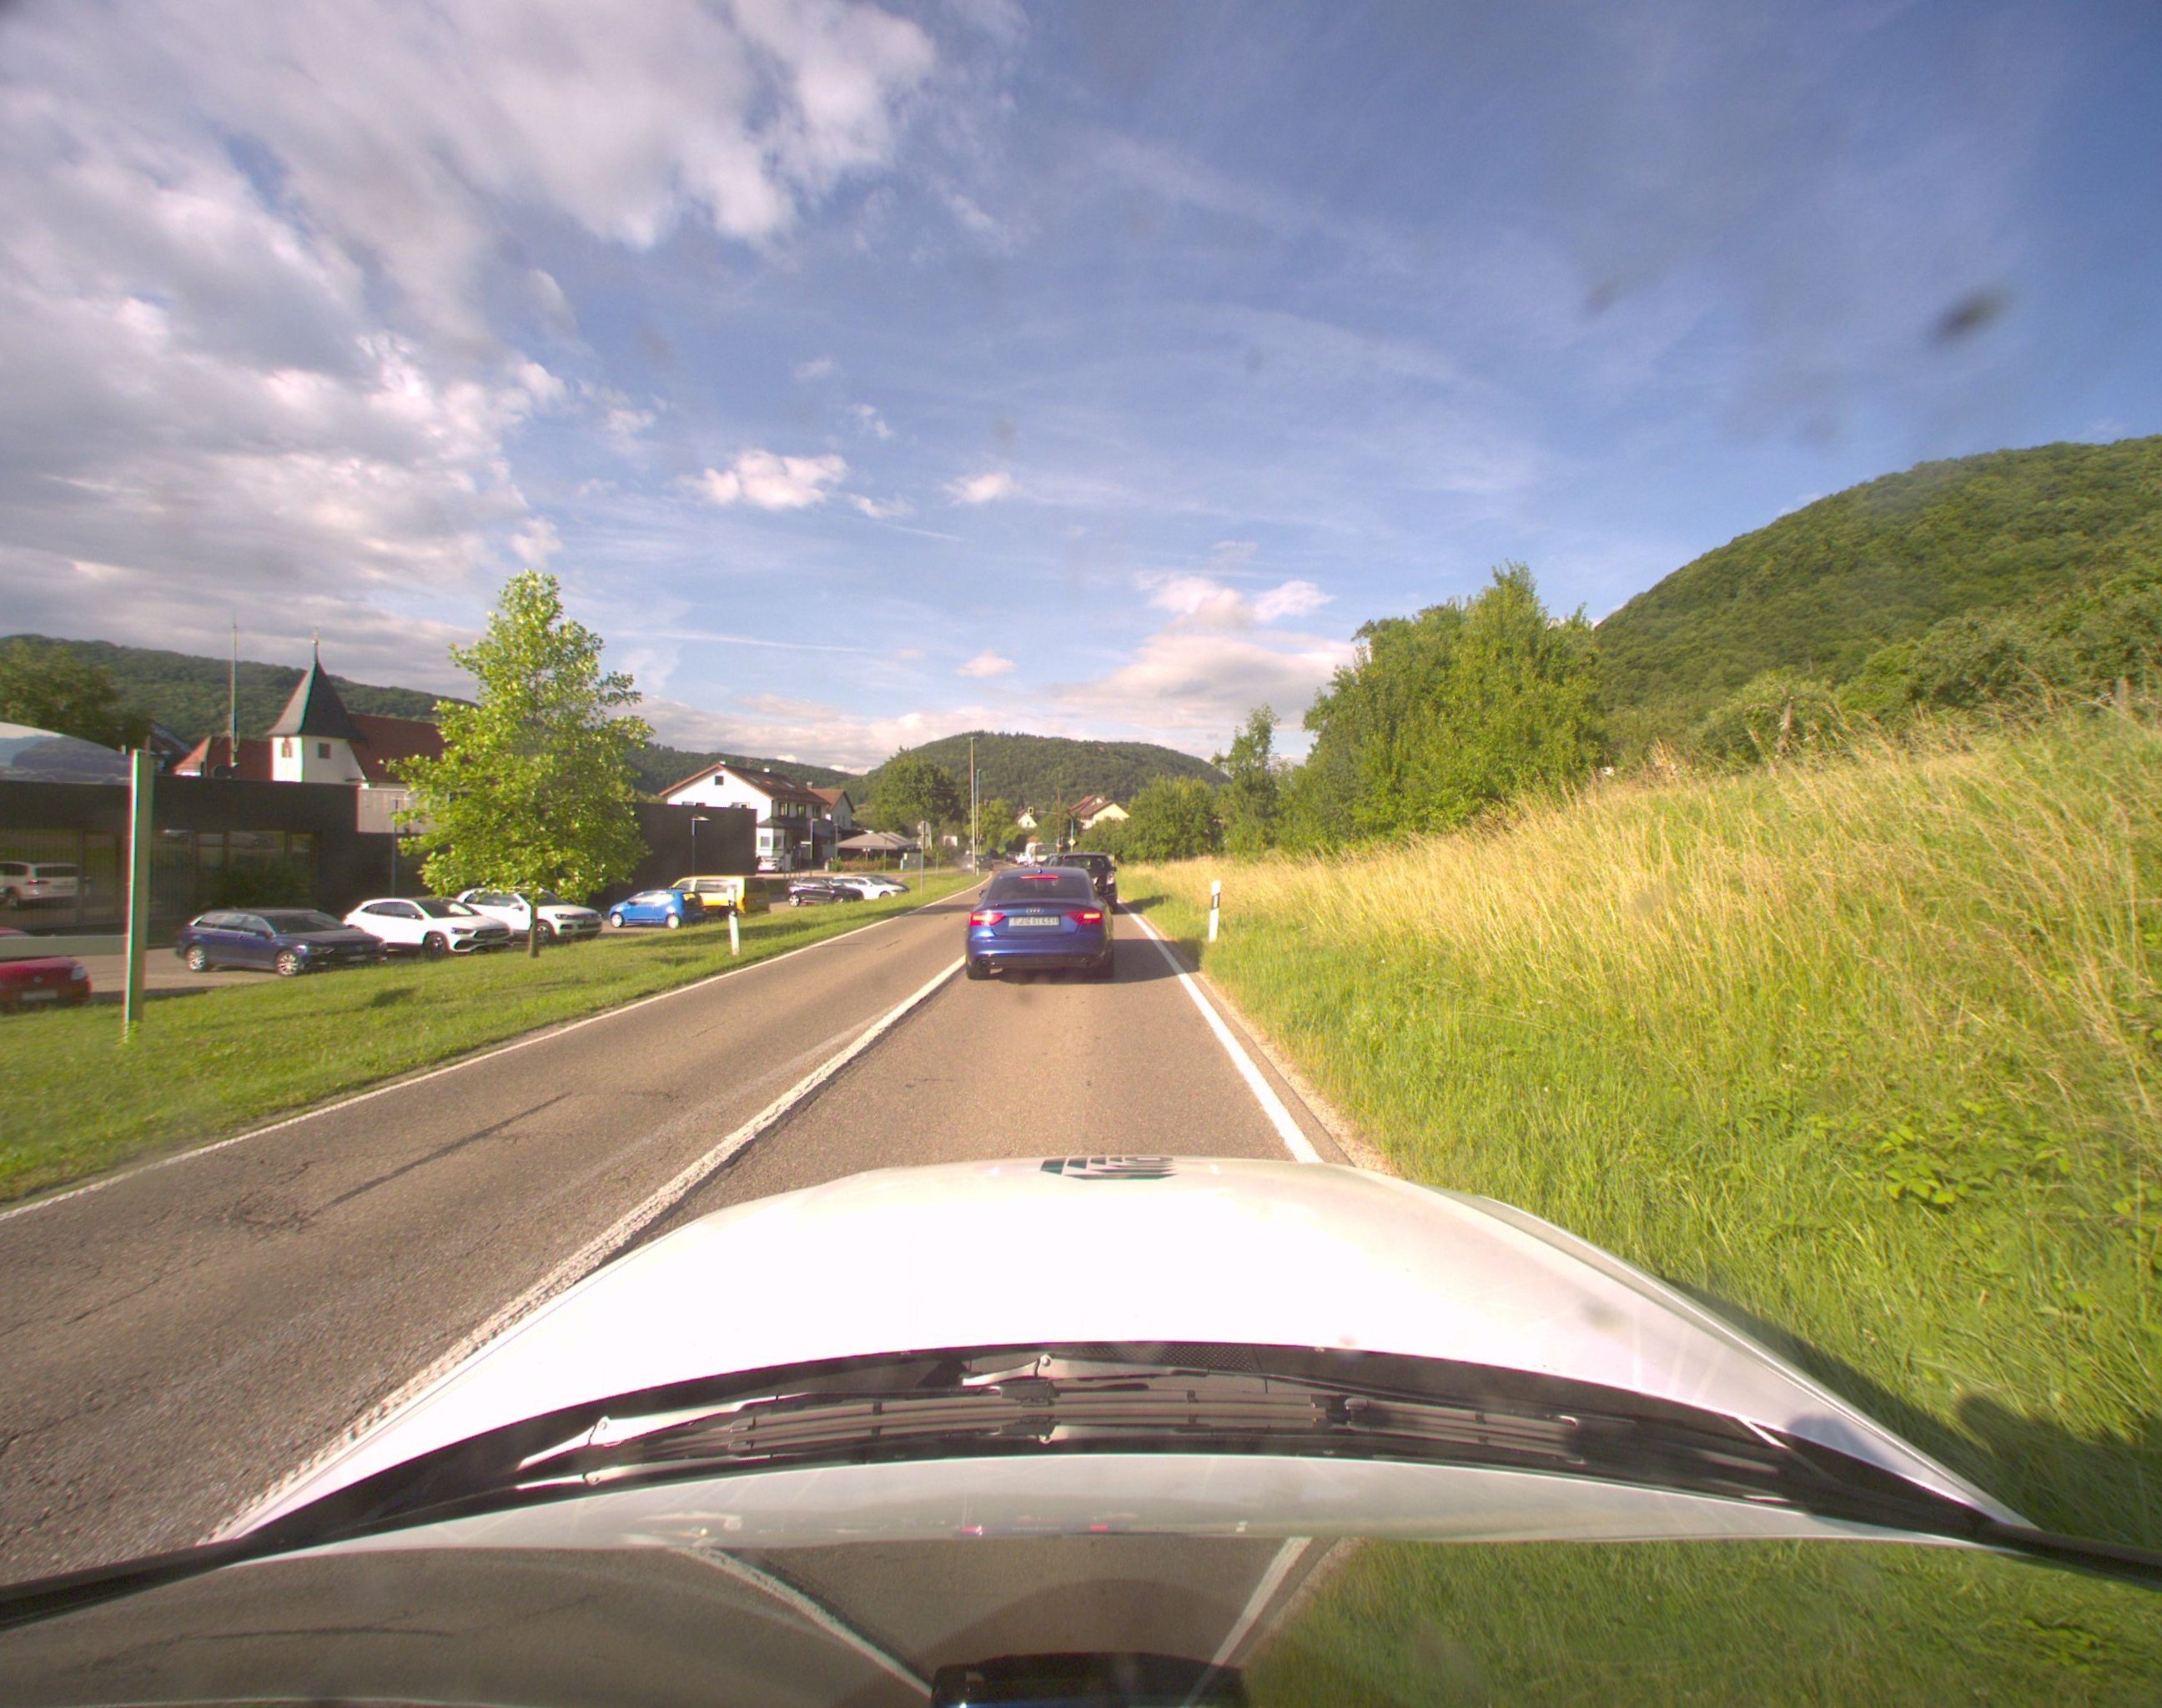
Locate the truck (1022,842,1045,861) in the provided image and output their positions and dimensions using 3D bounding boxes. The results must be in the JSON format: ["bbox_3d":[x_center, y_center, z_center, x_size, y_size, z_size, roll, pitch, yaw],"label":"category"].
[{"bbox_3d":[-5.076,-0.234,85.832,1.698,1.953,5.901,0,-1,-10],"label":"truck"}]

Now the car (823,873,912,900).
[{"bbox_3d":[-12.729,1.934,48.735,4.783,1.493,1.886,0,-1,10],"label":"car"}]

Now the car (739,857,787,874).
[{"bbox_3d":[-28.712,1.032,73.638,1.748,1.442,4.022,-1,-1,23],"label":"car"}]

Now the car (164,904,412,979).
[{"bbox_3d":[-18.997,2.040,19.603,4.510,1.555,2.006,0,-1,10],"label":"car"}]

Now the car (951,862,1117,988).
[{"bbox_3d":[-0.442,0.820,11.146,1.788,1.388,4.003,-1,-1,3],"label":"car"}]

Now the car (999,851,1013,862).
[{"bbox_3d":[-11.297,0.383,122.348,1.700,1.490,3.510,0,-1,-14],"label":"car"}]

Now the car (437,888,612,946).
[{"bbox_3d":[-17.822,1.972,26.178,4.510,1.703,2.006,0,-1,10],"label":"car"}]

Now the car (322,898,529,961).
[{"bbox_3d":[-18.303,2.055,22.836,4.510,1.555,2.006,0,-1,10],"label":"car"}]

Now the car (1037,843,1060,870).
[{"bbox_3d":[-2.784,0.263,68.263,1.743,2.195,3.992,0,-1,-5],"label":"car"}]

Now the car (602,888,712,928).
[{"bbox_3d":[-16.555,2.104,31.871,3.473,1.472,1.636,0,-1,8],"label":"car"}]

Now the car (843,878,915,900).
[{"bbox_3d":[-12.625,2.188,51.056,3.966,1.310,1.764,0,-1,6],"label":"car"}]

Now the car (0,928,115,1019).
[{"bbox_3d":[-19.721,2.079,14.477,3.697,1.398,1.620,0,-1,10],"label":"car"}]

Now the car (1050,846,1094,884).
[{"bbox_3d":[-0.365,0.523,37.589,1.797,1.639,4.465,0,-1,2],"label":"car"}]

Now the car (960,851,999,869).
[{"bbox_3d":[-9.389,0.550,75.725,1.718,1.662,3.493,-1,-1,35],"label":"car"}]

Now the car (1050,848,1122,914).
[{"bbox_3d":[0.216,0.690,22.082,1.739,1.639,4.003,0,-1,3],"label":"car"}]

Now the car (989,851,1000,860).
[{"bbox_3d":[-15.336,0.261,143.686,1.626,1.576,3.665,0,-1,-11],"label":"car"}]

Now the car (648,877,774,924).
[{"bbox_3d":[-15.603,1.913,34.402,4.577,1.868,2.007,0,-1,14],"label":"car"}]

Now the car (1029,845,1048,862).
[{"bbox_3d":[-4.203,-0.040,80.513,1.743,1.639,3.992,0,-1,-5],"label":"car"}]

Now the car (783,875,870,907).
[{"bbox_3d":[-13.828,1.995,44.303,3.999,1.637,2.006,0,-1,10],"label":"car"}]
